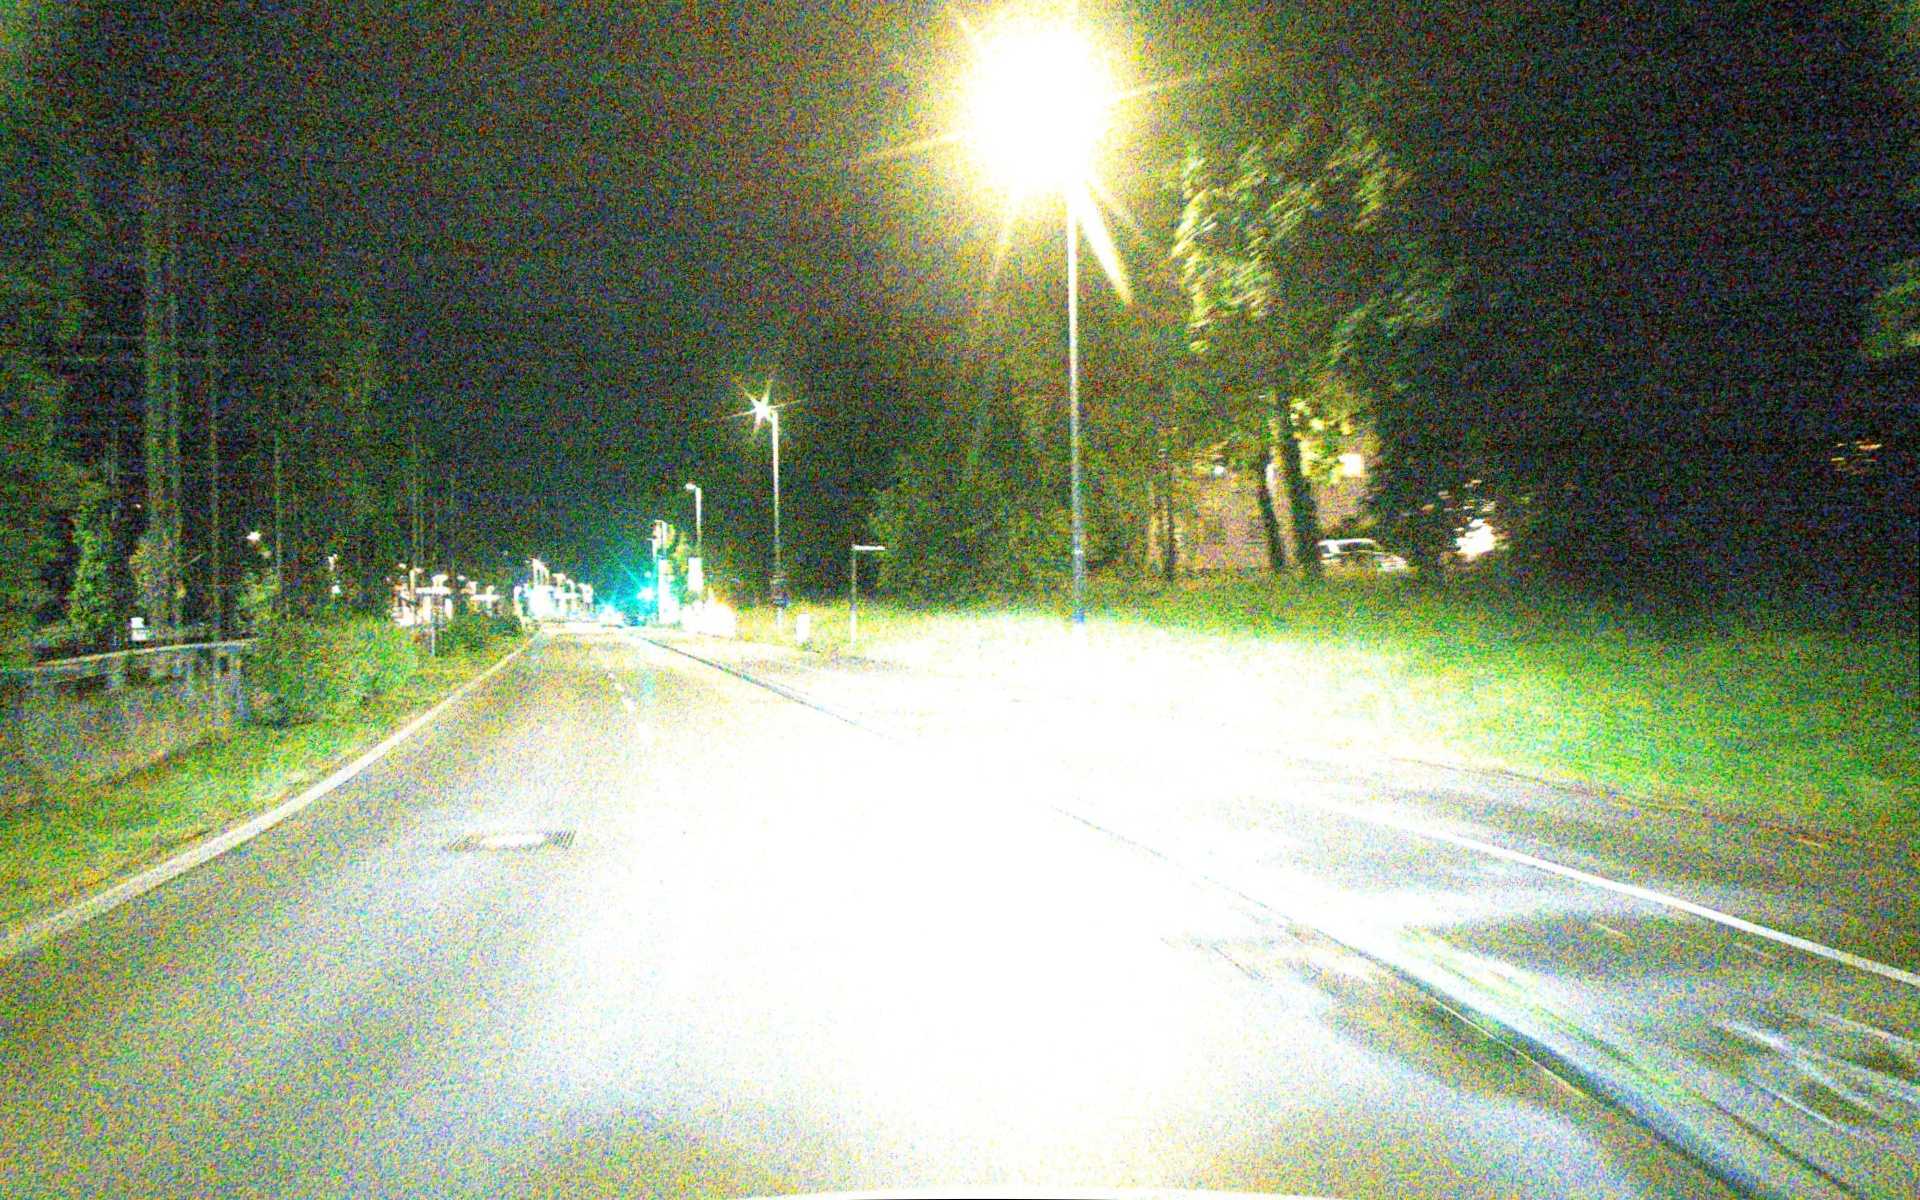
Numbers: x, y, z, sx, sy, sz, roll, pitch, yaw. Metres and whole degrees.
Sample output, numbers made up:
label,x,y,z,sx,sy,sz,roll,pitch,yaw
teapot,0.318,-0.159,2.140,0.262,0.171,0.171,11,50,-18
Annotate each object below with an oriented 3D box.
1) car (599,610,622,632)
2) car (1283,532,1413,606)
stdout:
label,x,y,z,sx,sy,sz,roll,pitch,yaw
car,-33.579,1.998,158.797,2.051,2.049,3.988,-1,0,-12
car,10.754,-0.834,46.126,1.917,1.869,4.103,-3,0,-11
